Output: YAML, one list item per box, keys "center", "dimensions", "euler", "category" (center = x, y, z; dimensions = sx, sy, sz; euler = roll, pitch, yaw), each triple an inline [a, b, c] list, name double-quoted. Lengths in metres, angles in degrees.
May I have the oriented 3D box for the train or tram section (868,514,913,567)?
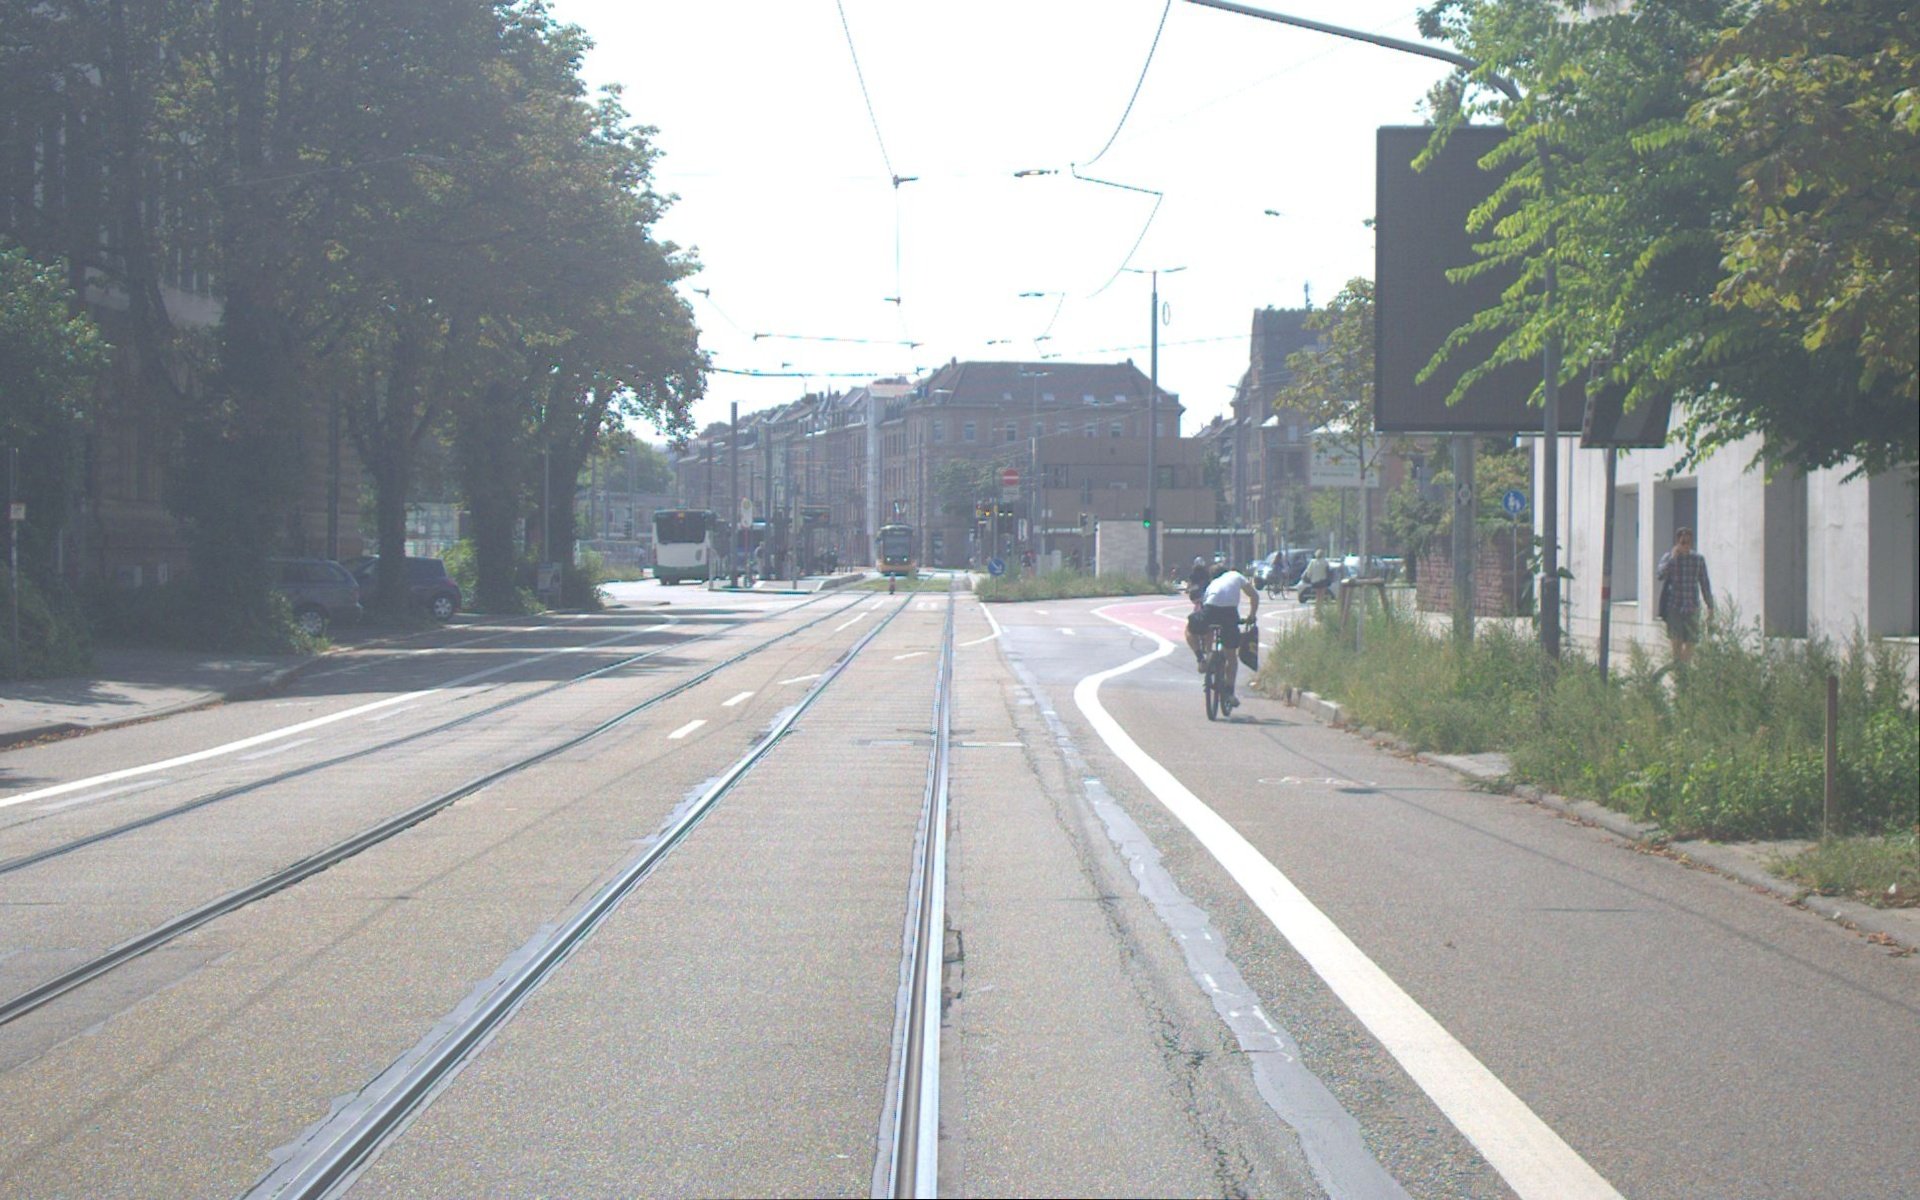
- center: [-4.850, -4.166, 241.702]
  dimensions: [2.856, 3.536, 17.743]
  euler: [1, 1, 0]
  category: "train or tram section"

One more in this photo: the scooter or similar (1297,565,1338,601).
- center: [9.596, -0.468, 92.214]
  dimensions: [0.773, 0.923, 1.619]
  euler: [1, 1, 17]
  category: "scooter or similar"

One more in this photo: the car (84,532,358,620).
- center: [-13.066, -0.419, 60.803]
  dimensions: [4.414, 1.457, 1.821]
  euler: [1, 1, -26]
  category: "car"

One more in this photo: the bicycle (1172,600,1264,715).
- center: [2.559, 0.557, 34.321]
  dimensions: [0.739, 1.045, 2.233]
  euler: [1, 1, 0]
  category: "bicycle"

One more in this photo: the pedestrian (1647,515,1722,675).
- center: [7.882, -0.058, 37.407]
  dimensions: [0.692, 1.726, 0.579]
  euler: [0, 1, 2]
  category: "pedestrian"

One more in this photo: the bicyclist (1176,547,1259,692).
- center: [2.562, 0.185, 34.256]
  dimensions: [0.745, 1.407, 0.962]
  euler: [1, 1, 0]
  category: "bicyclist"

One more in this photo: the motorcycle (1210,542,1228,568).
- center: [12.263, -2.125, 162.842]
  dimensions: [0.604, 1.206, 2.252]
  euler: [1, 1, 11]
  category: "motorcycle"

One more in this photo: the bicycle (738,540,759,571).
- center: [-8.573, -1.805, 139.418]
  dimensions: [0.607, 1.218, 1.705]
  euler: [1, 1, 4]
  category: "bicycle"

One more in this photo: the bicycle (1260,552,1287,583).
- center: [11.467, -1.184, 125.679]
  dimensions: [0.445, 1.113, 1.444]
  euler: [1, 1, 28]
  category: "bicycle"

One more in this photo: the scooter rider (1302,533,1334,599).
- center: [9.599, -0.917, 92.170]
  dimensions: [0.762, 1.769, 0.554]
  euler: [1, 1, 17]
  category: "scooter rider"

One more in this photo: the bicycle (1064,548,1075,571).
- center: [5.012, -1.855, 157.504]
  dimensions: [0.464, 1.029, 1.548]
  euler: [1, 1, 2]
  category: "bicycle"

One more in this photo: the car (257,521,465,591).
- center: [-13.255, -0.968, 76.185]
  dimensions: [4.151, 1.491, 1.821]
  euler: [0, 2, -37]
  category: "car"

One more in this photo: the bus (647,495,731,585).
- center: [-11.984, -2.658, 152.750]
  dimensions: [2.958, 3.762, 10.597]
  euler: [1, 1, -1]
  category: "bus"

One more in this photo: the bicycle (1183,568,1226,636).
- center: [4.313, 0.031, 60.629]
  dimensions: [0.604, 1.159, 1.810]
  euler: [1, 1, 8]
  category: "bicycle"

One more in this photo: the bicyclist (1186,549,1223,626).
- center: [4.317, -0.223, 60.650]
  dimensions: [0.603, 1.330, 0.659]
  euler: [1, 1, 8]
  category: "bicyclist"

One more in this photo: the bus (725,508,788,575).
- center: [-11.707, -3.366, 198.249]
  dimensions: [2.709, 3.714, 10.419]
  euler: [1, 1, 1]
  category: "bus"
